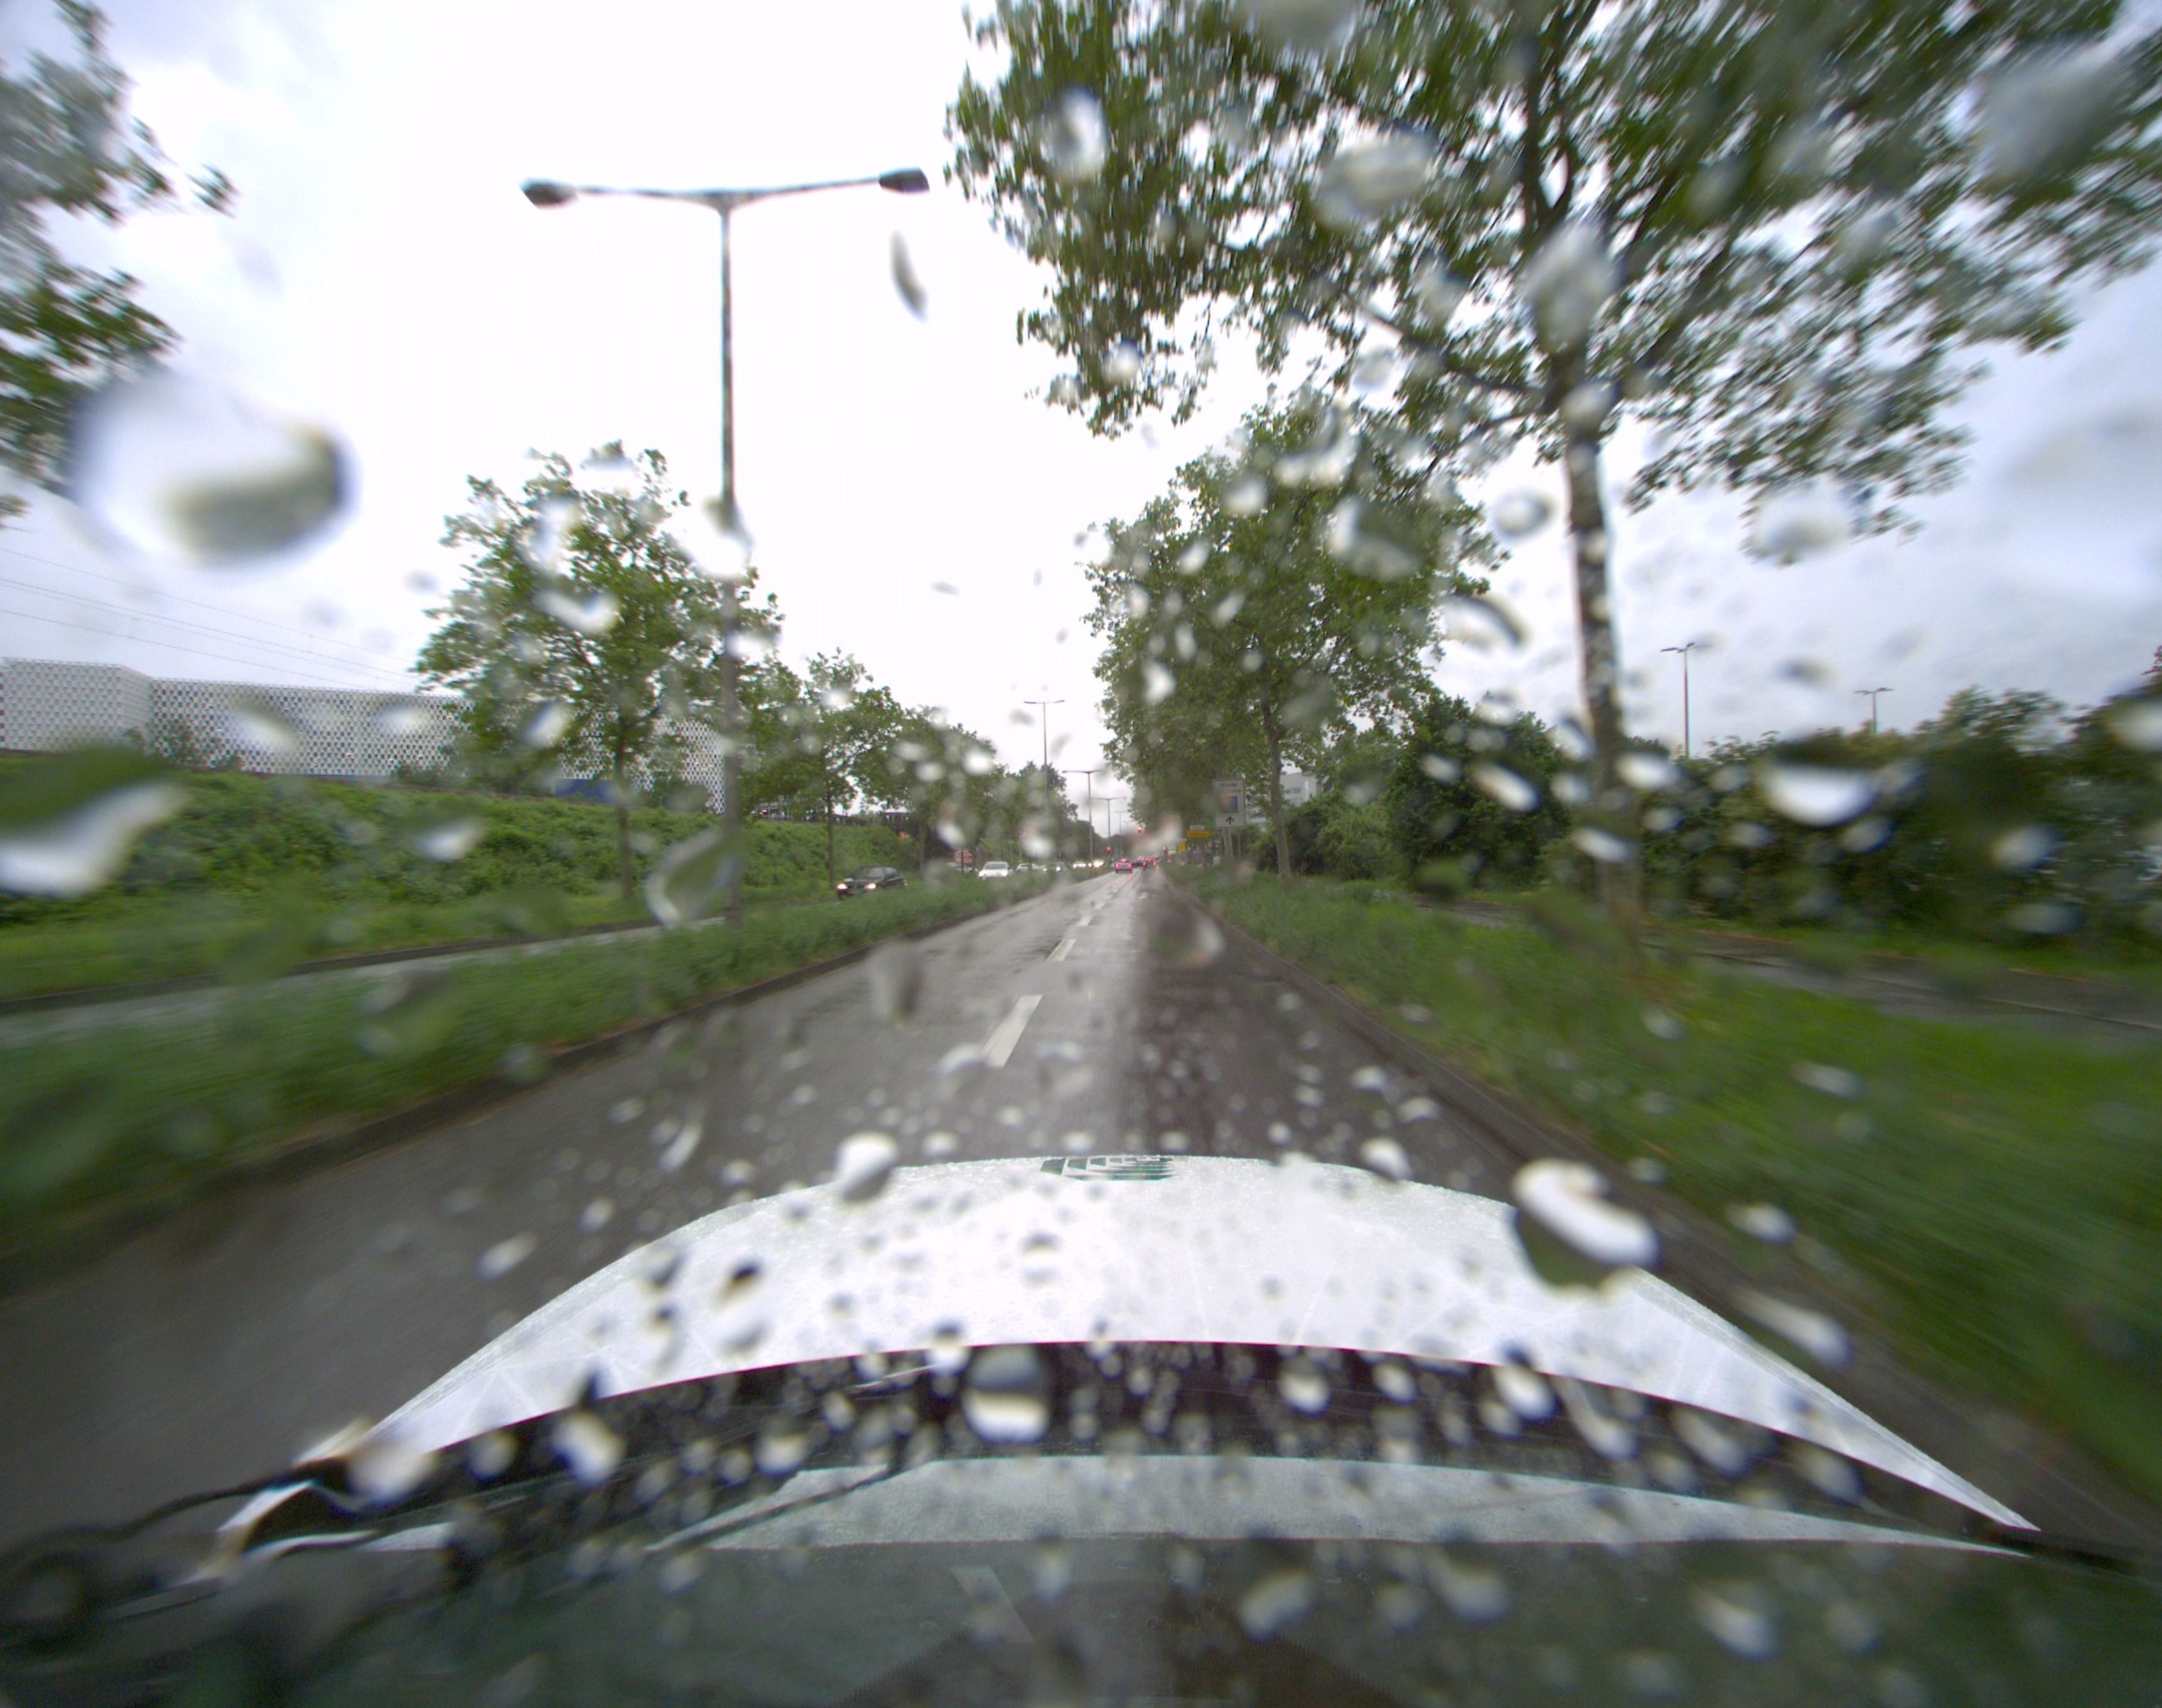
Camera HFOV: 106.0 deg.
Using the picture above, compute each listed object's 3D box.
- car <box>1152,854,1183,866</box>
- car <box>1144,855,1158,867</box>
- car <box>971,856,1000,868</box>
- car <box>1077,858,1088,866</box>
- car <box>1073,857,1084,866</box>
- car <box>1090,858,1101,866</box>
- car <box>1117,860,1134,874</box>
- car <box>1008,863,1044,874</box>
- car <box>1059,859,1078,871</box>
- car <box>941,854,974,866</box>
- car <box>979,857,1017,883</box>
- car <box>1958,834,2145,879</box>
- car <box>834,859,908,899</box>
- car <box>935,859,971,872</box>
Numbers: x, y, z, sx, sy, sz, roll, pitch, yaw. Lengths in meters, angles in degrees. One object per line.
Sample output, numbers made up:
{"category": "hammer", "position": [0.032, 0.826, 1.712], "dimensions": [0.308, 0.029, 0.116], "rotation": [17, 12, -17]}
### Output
{"category": "car", "position": [12.777, 0.829, 119.714], "dimensions": [4.406, 1.537, 1.783], "rotation": [-4, 2, -35]}
{"category": "car", "position": [9.440, 0.892, 109.187], "dimensions": [1.787, 1.537, 4.393], "rotation": [0, 0, 5]}
{"category": "car", "position": [-14.864, 1.304, 126.605], "dimensions": [4.006, 1.846, 1.983], "rotation": [0, -1, -25]}
{"category": "car", "position": [0.351, 1.520, 163.497], "dimensions": [1.704, 1.530, 4.006], "rotation": [-2, 0, 5]}
{"category": "car", "position": [-0.416, 1.413, 156.991], "dimensions": [1.704, 1.530, 4.006], "rotation": [-2, 0, 5]}
{"category": "car", "position": [2.781, 1.491, 157.912], "dimensions": [1.704, 1.530, 4.006], "rotation": [-2, 0, 5]}
{"category": "car", "position": [4.941, 1.437, 90.771], "dimensions": [1.682, 1.433, 4.580], "rotation": [-1, -1, 5]}
{"category": "car", "position": [-7.569, 2.051, 112.364], "dimensions": [4.599, 1.445, 1.948], "rotation": [-1, 0, 26]}
{"category": "car", "position": [-1.533, 1.320, 101.869], "dimensions": [1.922, 1.445, 3.712], "rotation": [-1, 0, 5]}
{"category": "car", "position": [-17.703, 0.817, 117.040], "dimensions": [4.393, 1.537, 1.787], "rotation": [-2, -1, -24]}
{"category": "car", "position": [-5.194, 0.989, 51.704], "dimensions": [1.694, 1.495, 4.209], "rotation": [-1, 0, 4]}
{"category": "car", "position": [34.608, 0.102, 29.159], "dimensions": [1.790, 1.479, 4.036], "rotation": [0, 0, -30]}
{"category": "car", "position": [-8.180, 0.941, 32.028], "dimensions": [1.624, 1.426, 4.004], "rotation": [-1, 0, 4]}
{"category": "car", "position": [-17.651, 1.627, 112.144], "dimensions": [4.521, 1.589, 1.849], "rotation": [-2, -1, -22]}
